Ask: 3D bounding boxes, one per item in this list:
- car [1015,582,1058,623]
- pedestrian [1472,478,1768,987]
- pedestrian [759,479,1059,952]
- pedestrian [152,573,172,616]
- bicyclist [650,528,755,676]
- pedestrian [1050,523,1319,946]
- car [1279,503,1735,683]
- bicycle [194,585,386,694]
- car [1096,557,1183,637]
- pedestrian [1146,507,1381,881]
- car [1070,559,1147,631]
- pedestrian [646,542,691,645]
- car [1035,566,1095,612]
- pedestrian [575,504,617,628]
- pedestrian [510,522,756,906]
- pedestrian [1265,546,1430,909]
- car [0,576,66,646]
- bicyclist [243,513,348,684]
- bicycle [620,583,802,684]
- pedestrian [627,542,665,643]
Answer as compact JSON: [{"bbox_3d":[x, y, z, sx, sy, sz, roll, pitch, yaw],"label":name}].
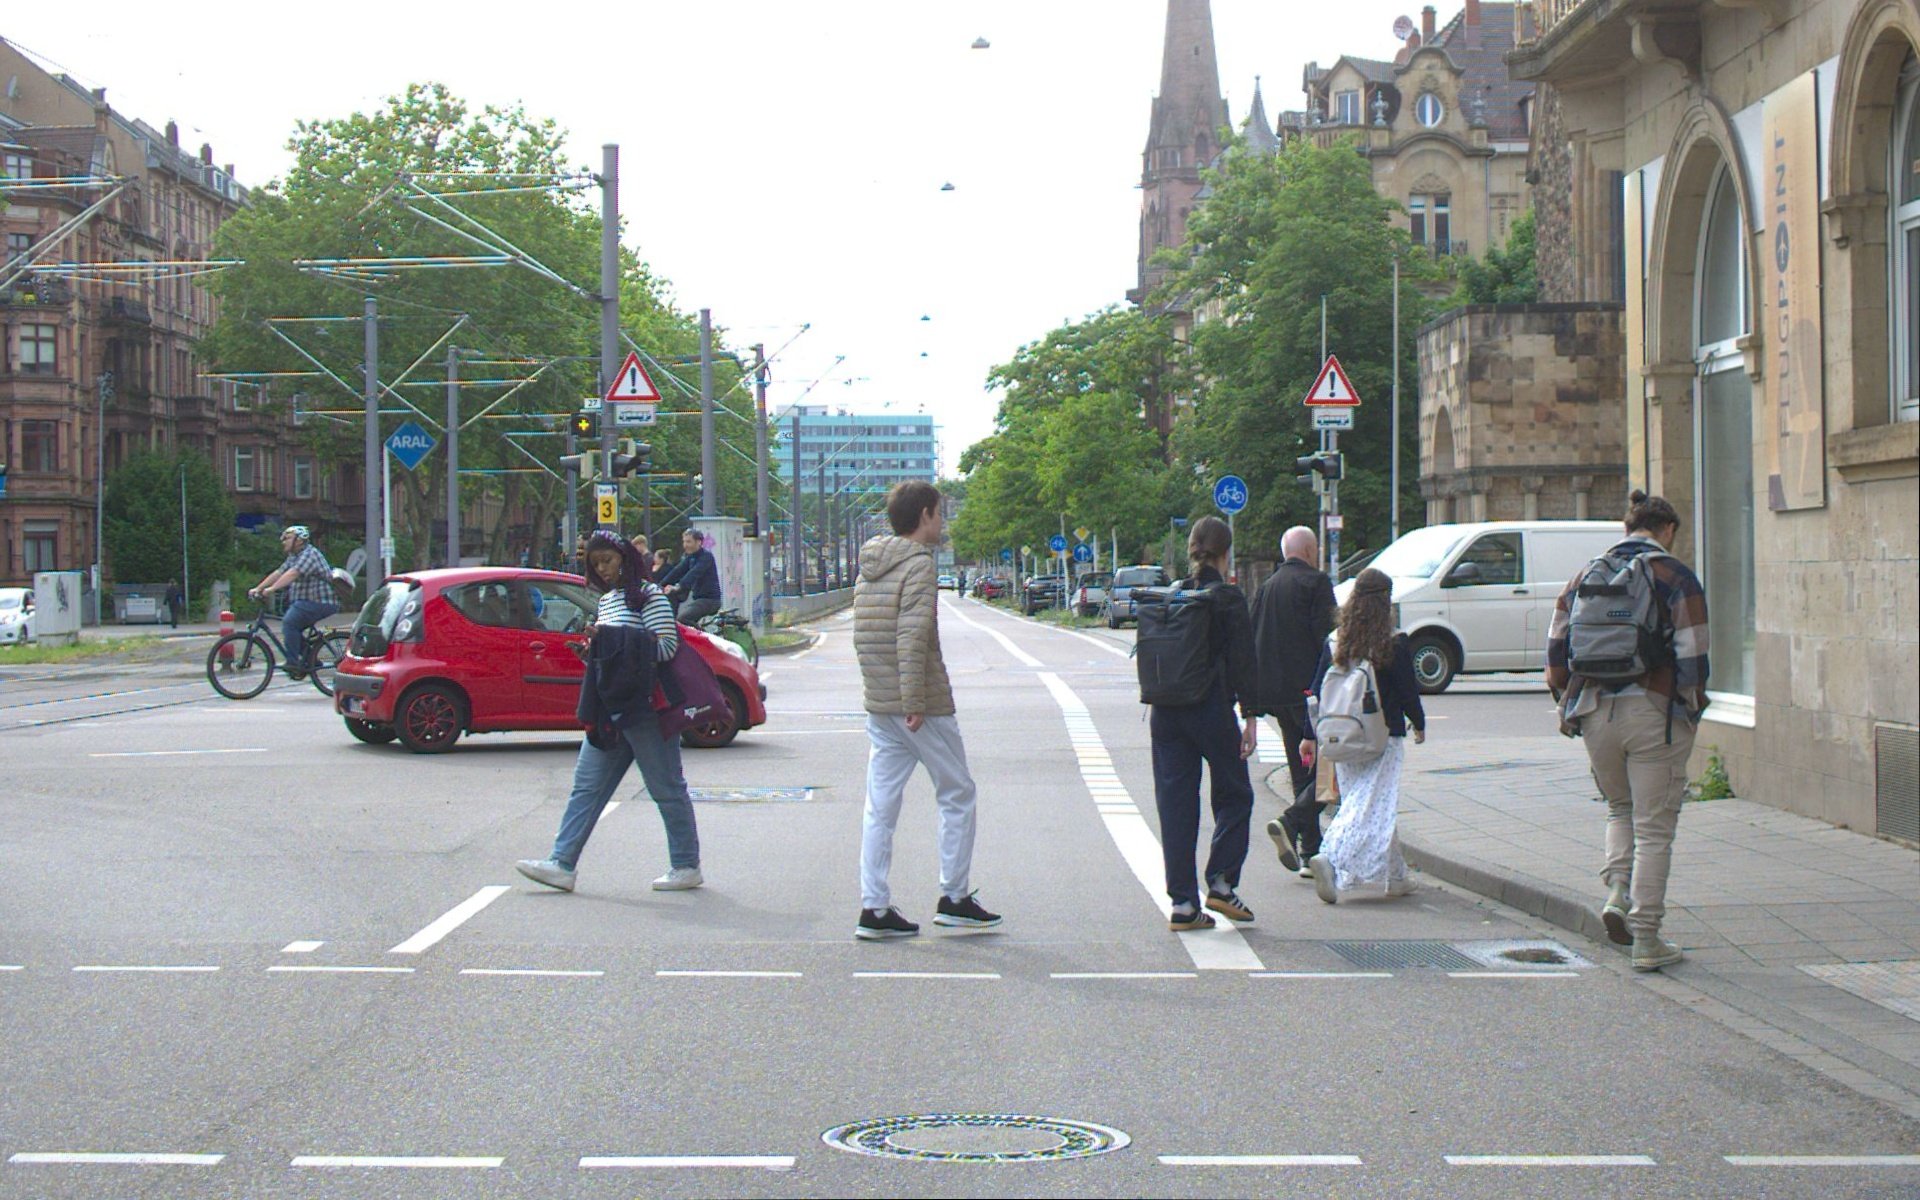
[{"bbox_3d":[3.827,0.107,172.461,1.993,2.007,4.000,1,0,-1],"label":"car"},{"bbox_3d":[2.429,0.460,12.593,0.627,1.772,1.131,0,0,37],"label":"pedestrian"},{"bbox_3d":[-0.206,0.445,13.615,1.011,1.807,0.585,1,0,-23],"label":"pedestrian"},{"bbox_3d":[-27.211,-0.202,117.213,0.524,1.455,0.452,1,0,-38],"label":"pedestrian"},{"bbox_3d":[-2.951,0.022,39.441,1.038,1.678,0.645,1,0,-20],"label":"bicyclist"},{"bbox_3d":[0.920,0.521,13.960,0.627,1.647,0.994,1,0,37],"label":"pedestrian"},{"bbox_3d":[6.258,-0.061,39.278,4.863,1.960,1.989,1,0,-26],"label":"car"},{"bbox_3d":[-7.185,0.423,36.892,1.899,1.138,0.629,1,0,-29],"label":"bicycle"},{"bbox_3d":[4.688,-0.087,90.132,1.993,2.007,4.000,1,0,-1],"label":"car"},{"bbox_3d":[1.487,0.441,16.857,0.917,1.778,0.646,1,0,37],"label":"pedestrian"},{"bbox_3d":[4.282,-0.155,99.771,1.993,2.007,4.000,1,0,-1],"label":"car"},{"bbox_3d":[-4.394,-0.097,51.848,0.653,1.532,0.466,1,0,-5],"label":"pedestrian"},{"bbox_3d":[3.913,-0.418,128.585,1.993,1.602,4.164,-2,0,-1],"label":"car"},{"bbox_3d":[-5.264,-0.491,49.704,0.573,1.788,0.519,1,0,-5],"label":"pedestrian"},{"bbox_3d":[-1.476,0.496,15.557,0.671,1.674,0.866,1,0,38],"label":"pedestrian"},{"bbox_3d":[1.766,0.559,15.593,0.700,1.587,0.831,1,0,8],"label":"pedestrian"},{"bbox_3d":[-22.065,0.230,79.322,1.894,1.552,3.836,1,0,-1],"label":"car"},{"bbox_3d":[-7.136,-0.011,36.916,0.965,1.813,0.532,1,0,-29],"label":"bicyclist"},{"bbox_3d":[-2.863,0.385,39.466,1.937,1.132,0.736,1,0,-21],"label":"bicycle"},{"bbox_3d":[-4.774,-0.115,52.343,0.545,1.532,0.466,1,0,-5],"label":"pedestrian"}]
